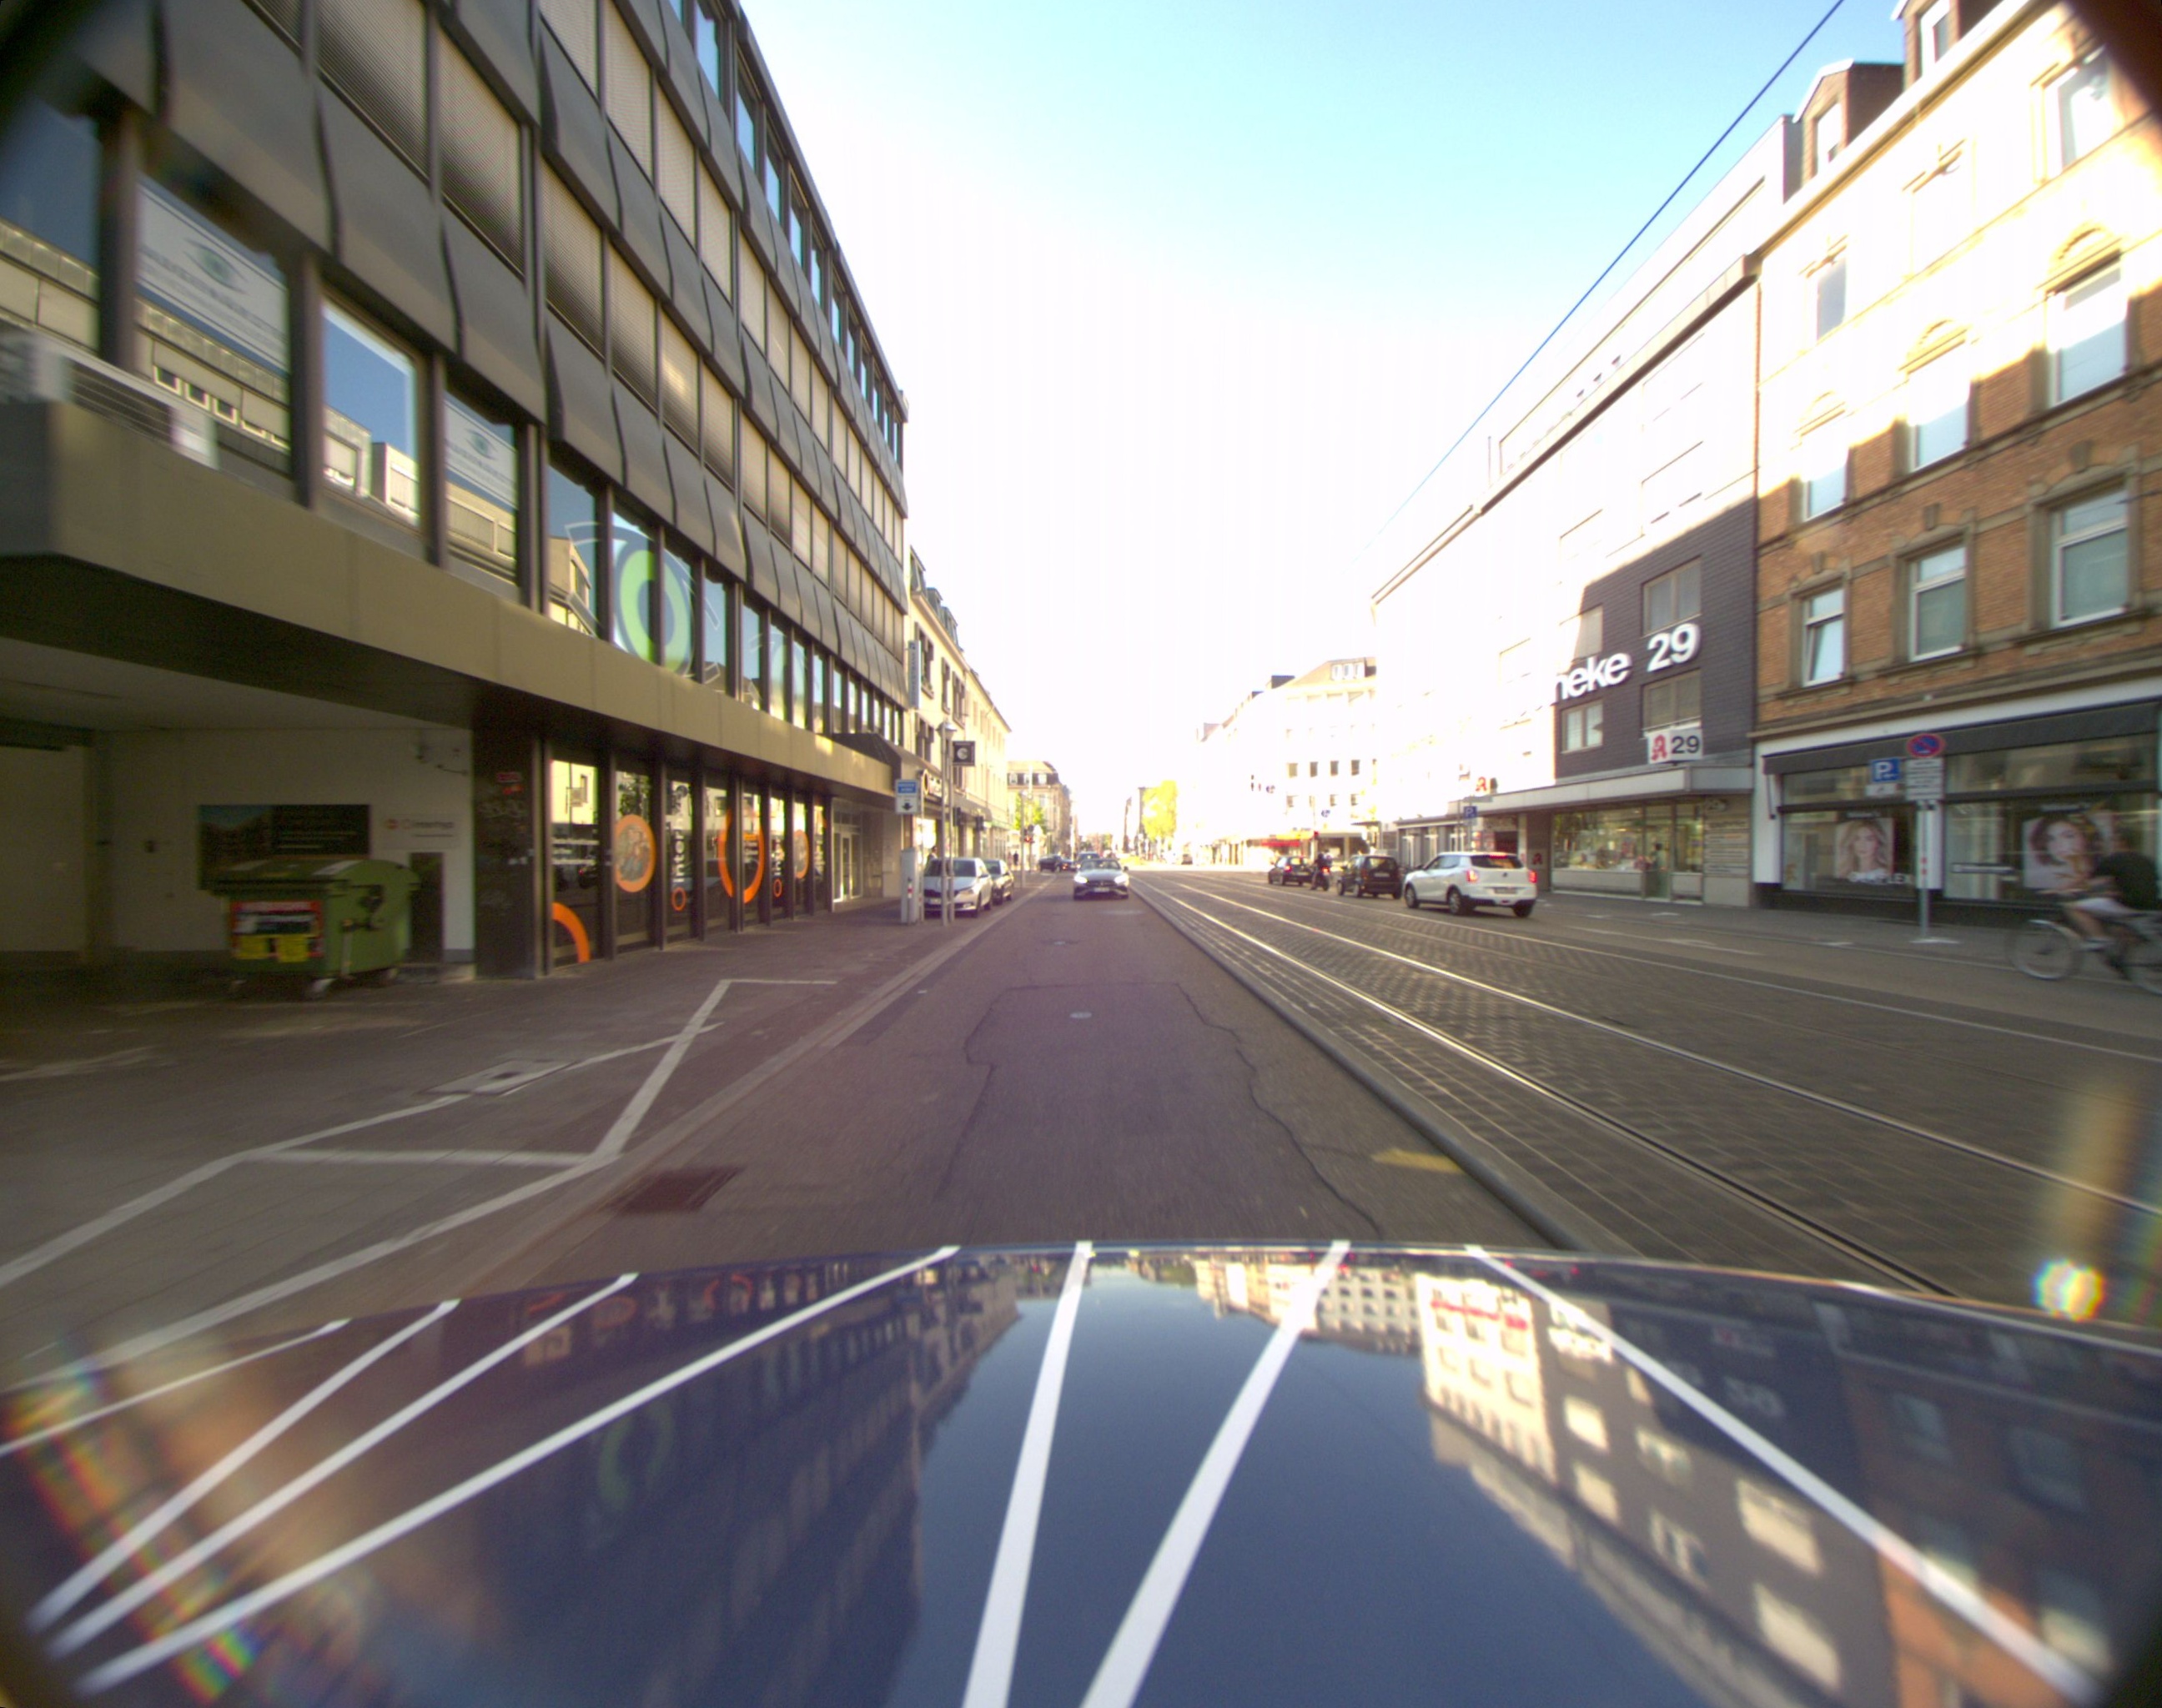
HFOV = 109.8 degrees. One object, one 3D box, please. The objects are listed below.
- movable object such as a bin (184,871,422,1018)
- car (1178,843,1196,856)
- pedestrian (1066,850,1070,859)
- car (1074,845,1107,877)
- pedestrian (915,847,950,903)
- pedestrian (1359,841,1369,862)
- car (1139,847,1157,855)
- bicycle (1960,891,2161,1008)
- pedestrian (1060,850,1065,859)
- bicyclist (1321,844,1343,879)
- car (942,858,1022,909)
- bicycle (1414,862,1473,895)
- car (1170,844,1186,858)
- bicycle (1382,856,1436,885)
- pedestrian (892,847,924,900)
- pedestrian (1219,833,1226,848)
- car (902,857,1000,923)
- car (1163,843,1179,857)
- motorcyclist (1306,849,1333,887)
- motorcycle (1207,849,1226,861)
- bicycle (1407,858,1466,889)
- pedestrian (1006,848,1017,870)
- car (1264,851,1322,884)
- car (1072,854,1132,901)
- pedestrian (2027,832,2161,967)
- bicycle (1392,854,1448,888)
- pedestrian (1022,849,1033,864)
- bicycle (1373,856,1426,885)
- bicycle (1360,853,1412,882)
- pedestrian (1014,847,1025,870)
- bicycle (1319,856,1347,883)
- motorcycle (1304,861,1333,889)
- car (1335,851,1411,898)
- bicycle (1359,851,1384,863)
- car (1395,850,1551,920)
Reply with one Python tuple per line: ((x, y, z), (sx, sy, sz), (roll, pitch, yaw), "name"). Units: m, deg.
((-8.248, 0.923, 8.137), (1.416, 1.421, 1.037), (-1, 1, 0), "movable object such as a bin")
((14.407, -0.644, 103.333), (1.998, 1.696, 4.000), (-1, 0, 1), "car")
((-1.932, 0.061, 115.430), (0.509, 1.266, 0.719), (-1, 1, -8), "pedestrian")
((0.570, 0.404, 49.830), (1.910, 1.860, 4.095), (-2, 2, -2), "car")
((-4.988, 0.690, 25.571), (0.925, 1.832, 0.999), (1, 1, 2), "pedestrian")
((22.920, -0.210, 61.500), (0.653, 1.703, 0.793), (-1, 2, 10), "pedestrian")
((14.700, -0.626, 166.928), (3.996, 1.787, 2.000), (-1, 0, 1), "car")
((11.549, 1.038, 8.773), (0.579, 1.109, 1.953), (0, 1, 2), "bicycle")
((-2.819, 0.059, 115.220), (0.622, 1.266, 0.779), (-1, 1, -5), "pedestrian")
((12.464, 0.371, 37.723), (0.752, 1.719, 1.146), (-1, 1, 2), "bicyclist")
((-3.116, 0.880, 24.717), (1.852, 1.454, 4.302), (0, 1, 3), "car")
((13.369, 0.891, 28.031), (1.940, 1.183, 0.551), (-1, 1, -3), "bicycle")
((14.189, -0.462, 111.623), (1.998, 2.002, 4.843), (-1, 0, 4), "car")
((13.932, 0.706, 32.295), (1.940, 1.185, 0.773), (-1, 1, -4), "bicycle")
((-5.793, 0.640, 25.512), (0.781, 1.742, 1.032), (-1, 1, 2), "pedestrian")
((16.754, -1.583, 89.957), (0.710, 1.699, 0.561), (0, 1, 22), "pedestrian")
((-3.240, 0.850, 19.748), (1.749, 1.454, 4.295), (0, 1, 1), "car")
((13.842, -0.648, 117.294), (1.998, 2.002, 4.000), (-1, 1, 1), "car")
((10.014, 0.565, 31.927), (0.805, 1.549, 1.146), (0, 1, 2), "motorcyclist")
((18.345, 0.130, 102.920), (2.254, 1.496, 1.000), (-1, 1, -2), "motorcycle")
((13.849, 0.765, 29.615), (1.940, 1.146, 0.773), (-1, 1, -4), "bicycle")
((-5.660, 0.390, 62.047), (0.648, 1.749, 0.575), (0, 2, 24), "pedestrian")
((10.231, 0.604, 36.980), (1.717, 1.437, 4.138), (2, 0, 1), "car")
((0.706, 0.767, 26.948), (1.910, 1.453, 4.363), (-1, 0, 1), "car")
((11.531, 0.477, 8.566), (0.625, 1.435, 0.874), (-1, 2, 2), "pedestrian")
((13.883, 0.684, 31.099), (1.940, 1.272, 0.773), (-2, 1, -4), "bicycle")
((-6.116, 0.256, 86.685), (0.947, 1.654, 0.915), (-1, 1, -26), "pedestrian")
((13.918, 0.703, 33.225), (1.940, 1.166, 0.773), (-2, 1, -4), "bicycle")
((14.068, 0.623, 35.080), (2.109, 1.216, 0.773), (-2, 1, -4), "bicycle")
((-5.009, 0.341, 62.000), (0.680, 1.831, 0.643), (0, 1, 24), "pedestrian")
((12.484, 0.744, 37.665), (0.752, 1.286, 2.025), (-1, 1, 1), "bicycle")
((10.025, 0.860, 32.110), (0.571, 1.113, 2.117), (0, 1, 1), "motorcycle")
((10.278, 0.678, 26.921), (1.652, 1.557, 2.829), (0, 1, 1), "car")
((23.163, 0.213, 60.510), (1.791, 0.962, 0.554), (0, 1, 13), "bicycle")
((9.957, 0.701, 19.715), (1.894, 1.585, 4.262), (1, 1, 1), "car")
